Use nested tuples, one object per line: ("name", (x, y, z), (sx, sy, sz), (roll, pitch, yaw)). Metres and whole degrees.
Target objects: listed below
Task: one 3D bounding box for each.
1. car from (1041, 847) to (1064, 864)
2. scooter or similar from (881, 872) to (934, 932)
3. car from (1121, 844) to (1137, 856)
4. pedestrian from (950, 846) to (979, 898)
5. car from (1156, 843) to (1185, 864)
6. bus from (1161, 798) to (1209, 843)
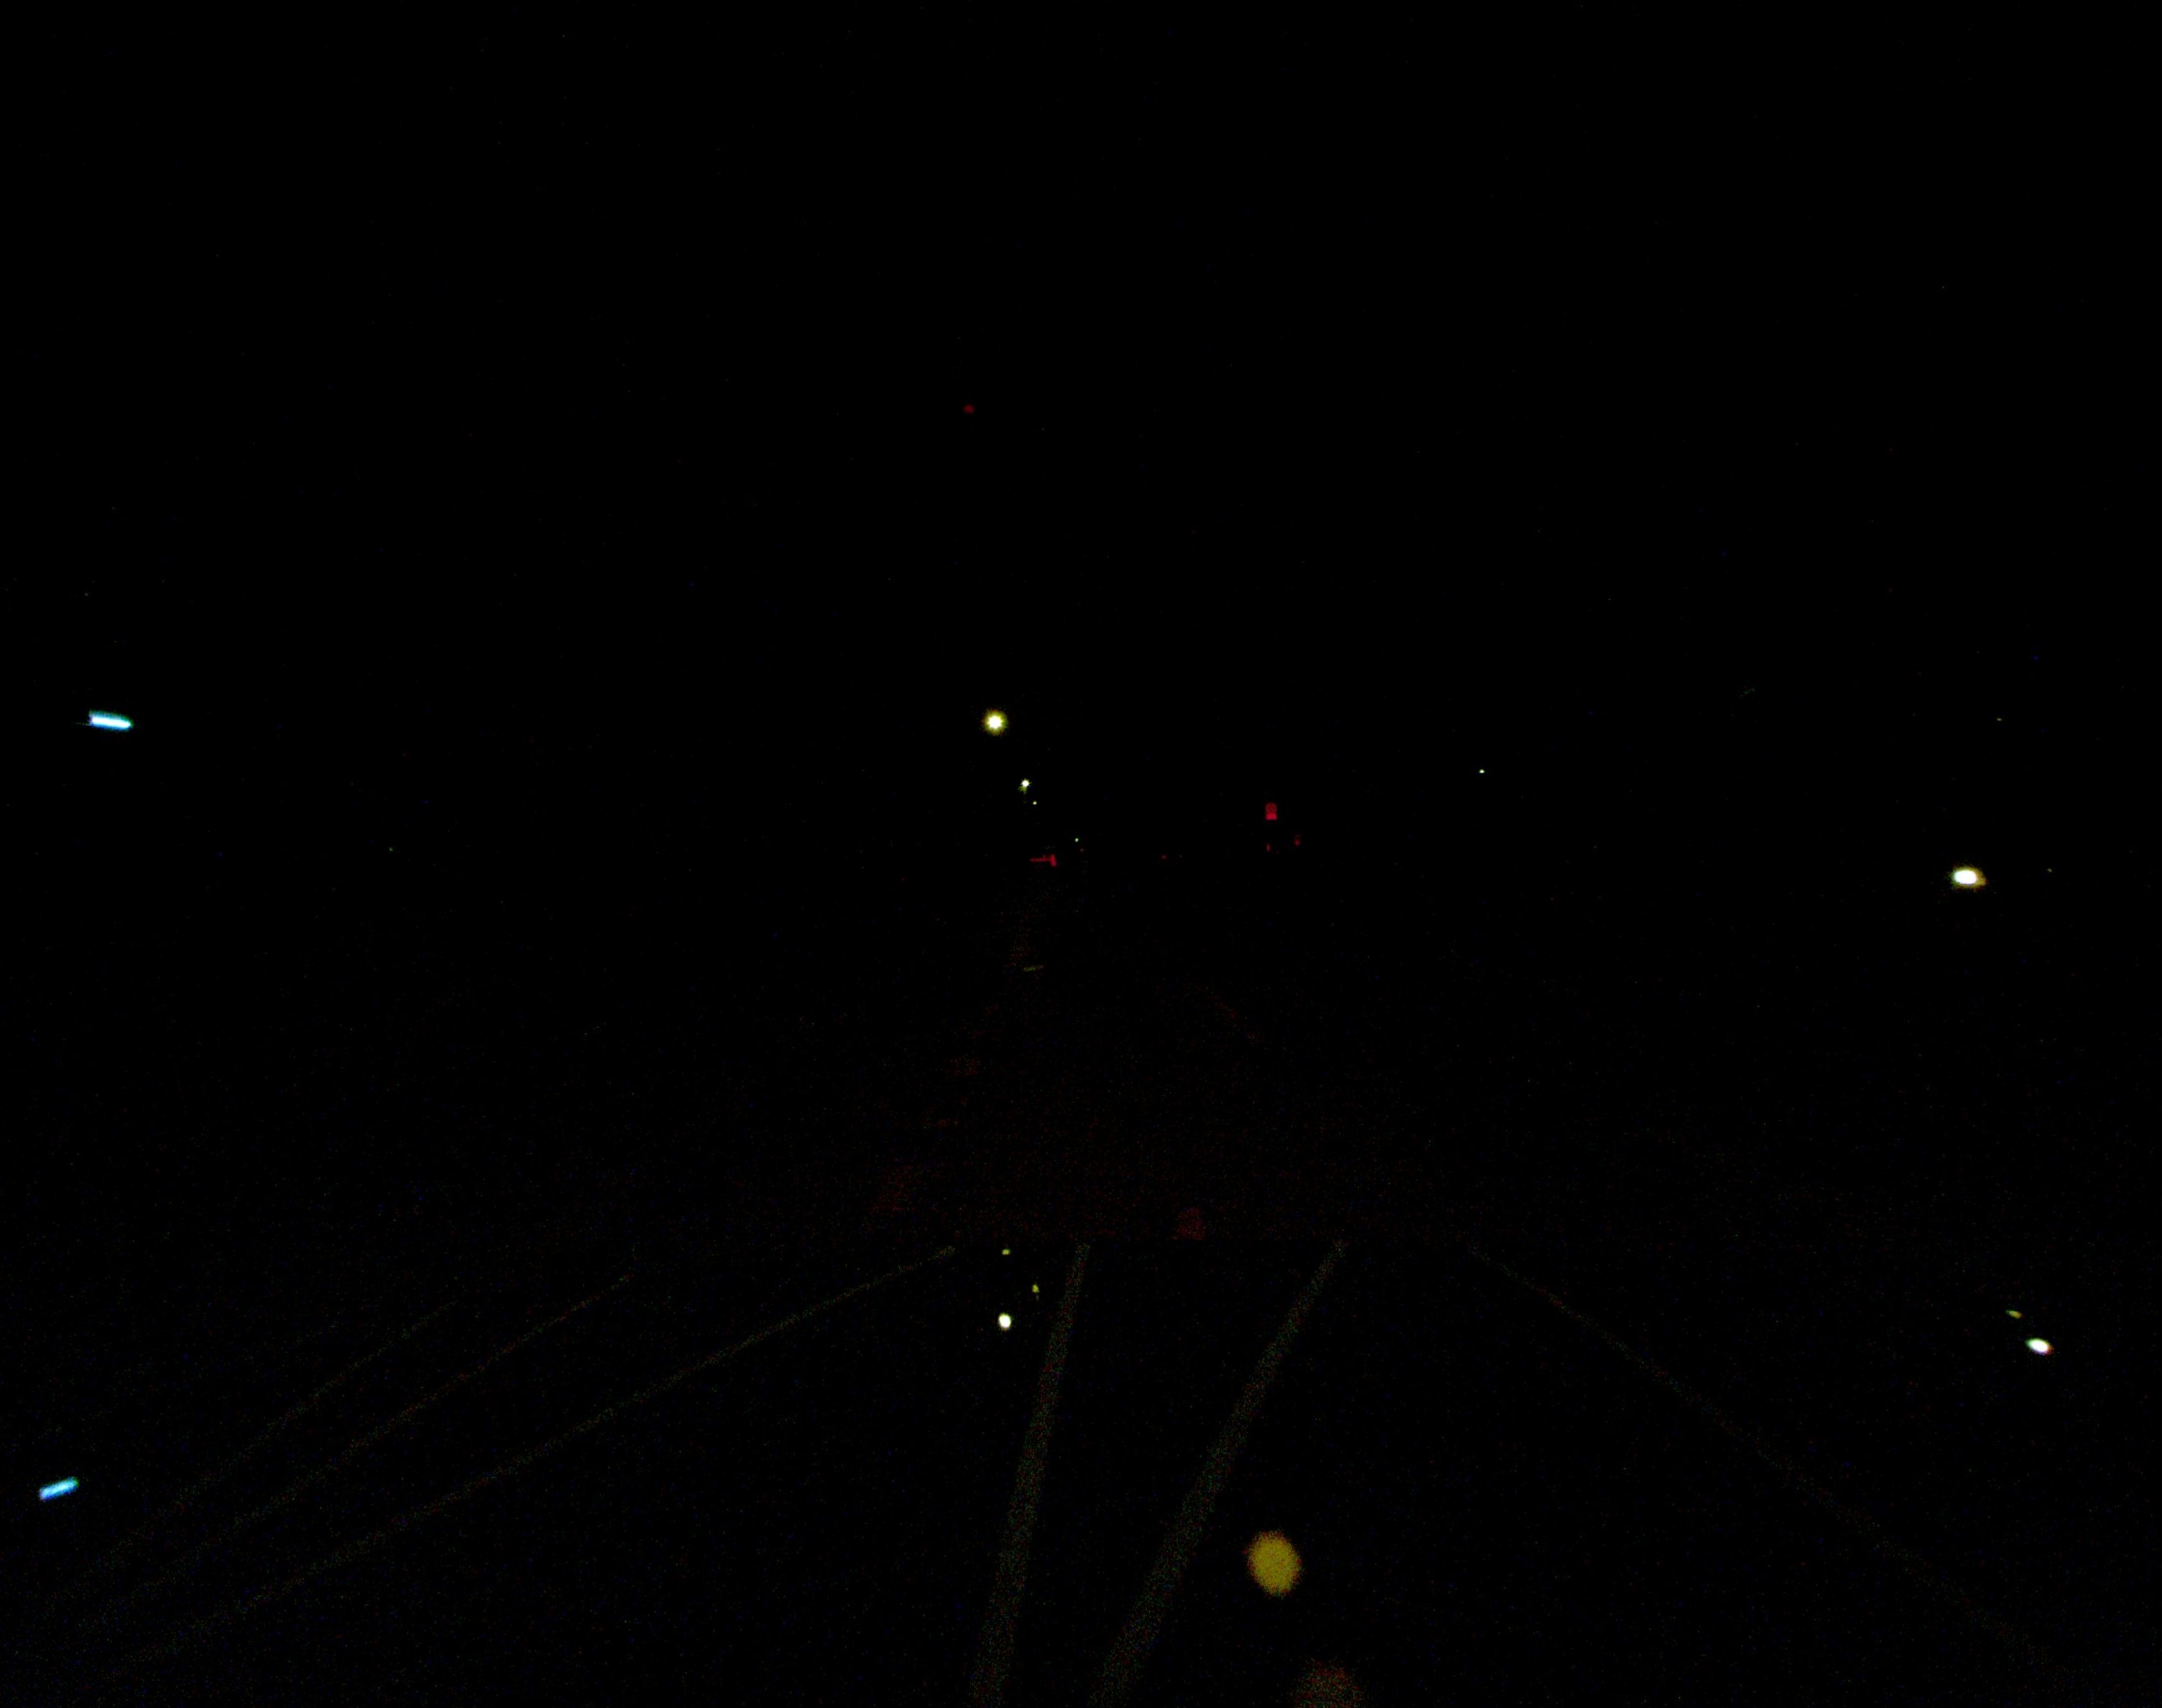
("car", (-2.908, 0.106, 78.202), (1.998, 1.638, 4.000), (0, 2, 4))
("scooter or similar", (-3.646, 1.001, 16.039), (0.468, 1.195, 1.137), (-2, 0, 24))
("car", (6.267, -0.492, 100.468), (1.863, 1.484, 4.080), (-2, 1, 1))
("pedestrian", (-4.361, 0.657, 28.507), (0.819, 1.854, 1.034), (-2, 1, 1))
("car", (7.124, -0.073, 60.915), (1.806, 1.583, 3.999), (-2, 1, 0))
("bus", (17.465, -5.488, 129.099), (6.135, 6.898, 14.781), (-2, 1, 1))
